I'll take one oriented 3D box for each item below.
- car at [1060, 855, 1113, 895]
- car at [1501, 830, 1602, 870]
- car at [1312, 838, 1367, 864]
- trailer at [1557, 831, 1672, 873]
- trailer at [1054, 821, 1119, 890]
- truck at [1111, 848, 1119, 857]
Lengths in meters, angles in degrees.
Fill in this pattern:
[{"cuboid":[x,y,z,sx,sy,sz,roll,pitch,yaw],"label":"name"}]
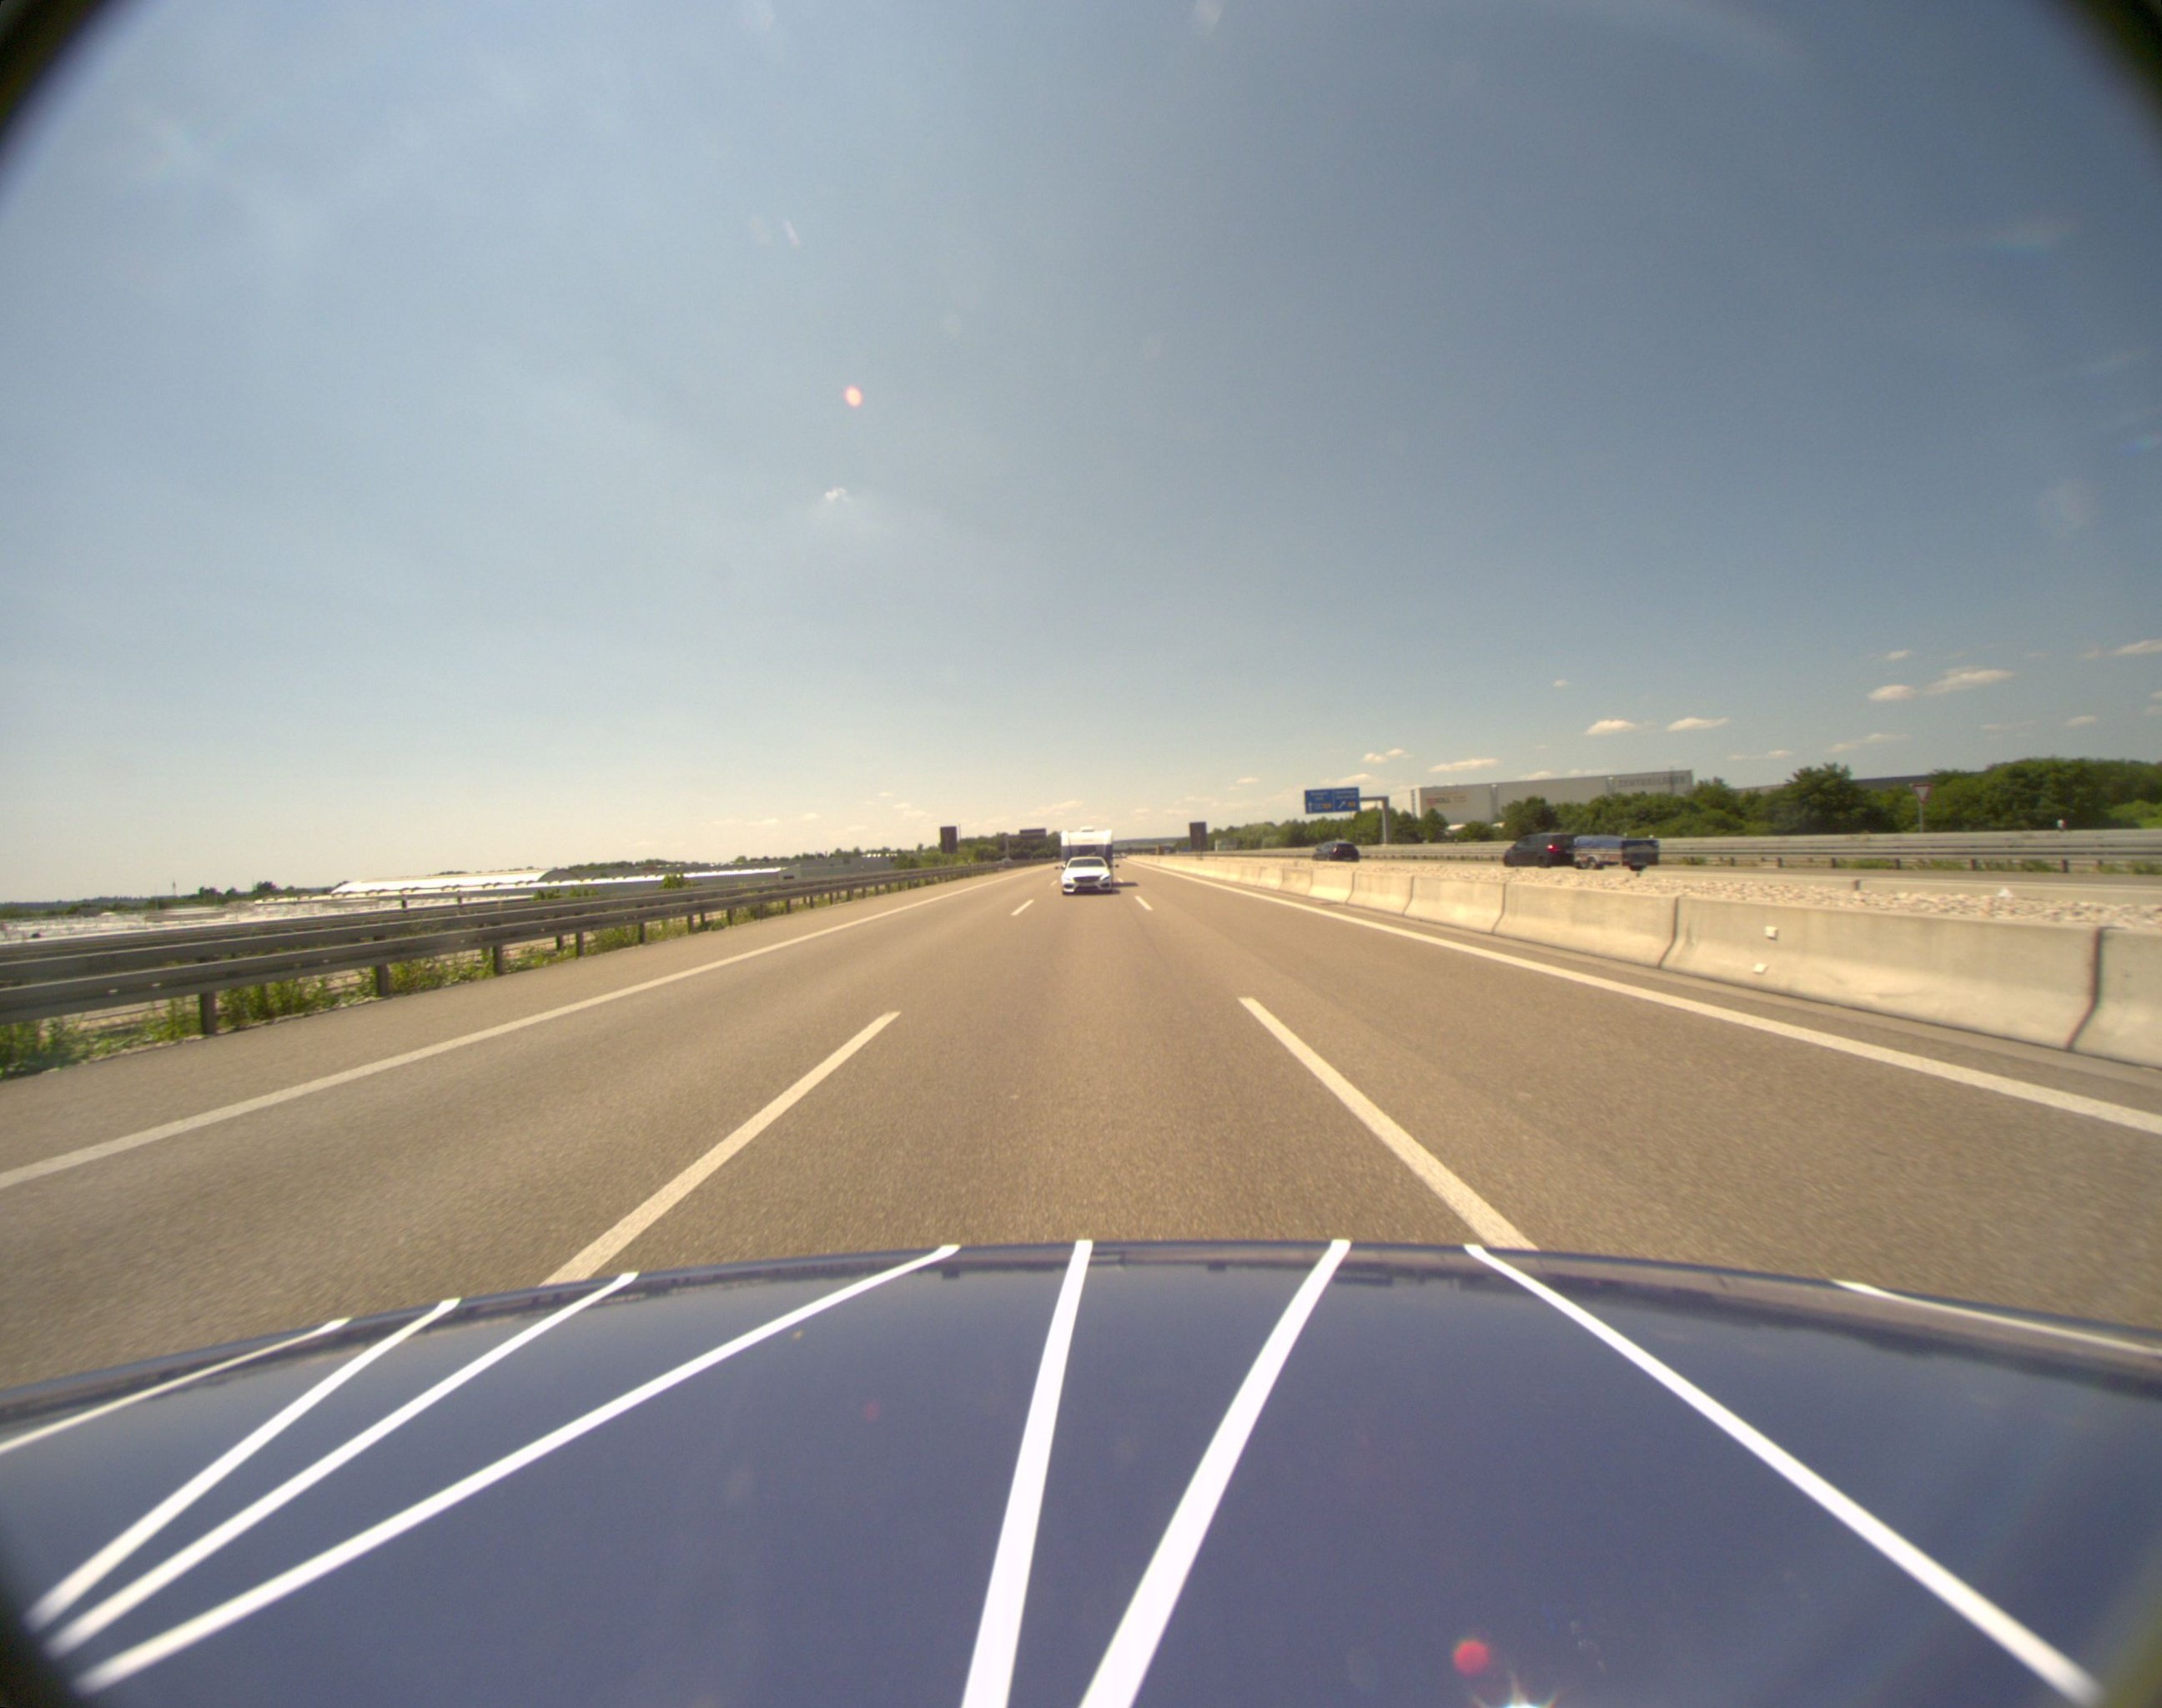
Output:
[{"cuboid":[0.230,0.768,29.003,1.873,1.352,3.672,-1,1,1],"label":"car"},{"cuboid":[19.771,-0.180,32.123,1.796,1.541,4.000,-2,1,1],"label":"car"},{"cuboid":[16.097,-0.181,47.531,2.036,1.464,4.371,-2,1,2],"label":"car"},{"cuboid":[19.691,-0.102,28.247,1.760,1.427,3.683,-1,1,1],"label":"trailer"},{"cuboid":[0.262,0.034,34.220,2.501,2.686,7.154,-2,1,1],"label":"trailer"},{"cuboid":[10.764,-0.578,239.417,2.168,2.797,6.492,-2,0,5],"label":"truck"}]
